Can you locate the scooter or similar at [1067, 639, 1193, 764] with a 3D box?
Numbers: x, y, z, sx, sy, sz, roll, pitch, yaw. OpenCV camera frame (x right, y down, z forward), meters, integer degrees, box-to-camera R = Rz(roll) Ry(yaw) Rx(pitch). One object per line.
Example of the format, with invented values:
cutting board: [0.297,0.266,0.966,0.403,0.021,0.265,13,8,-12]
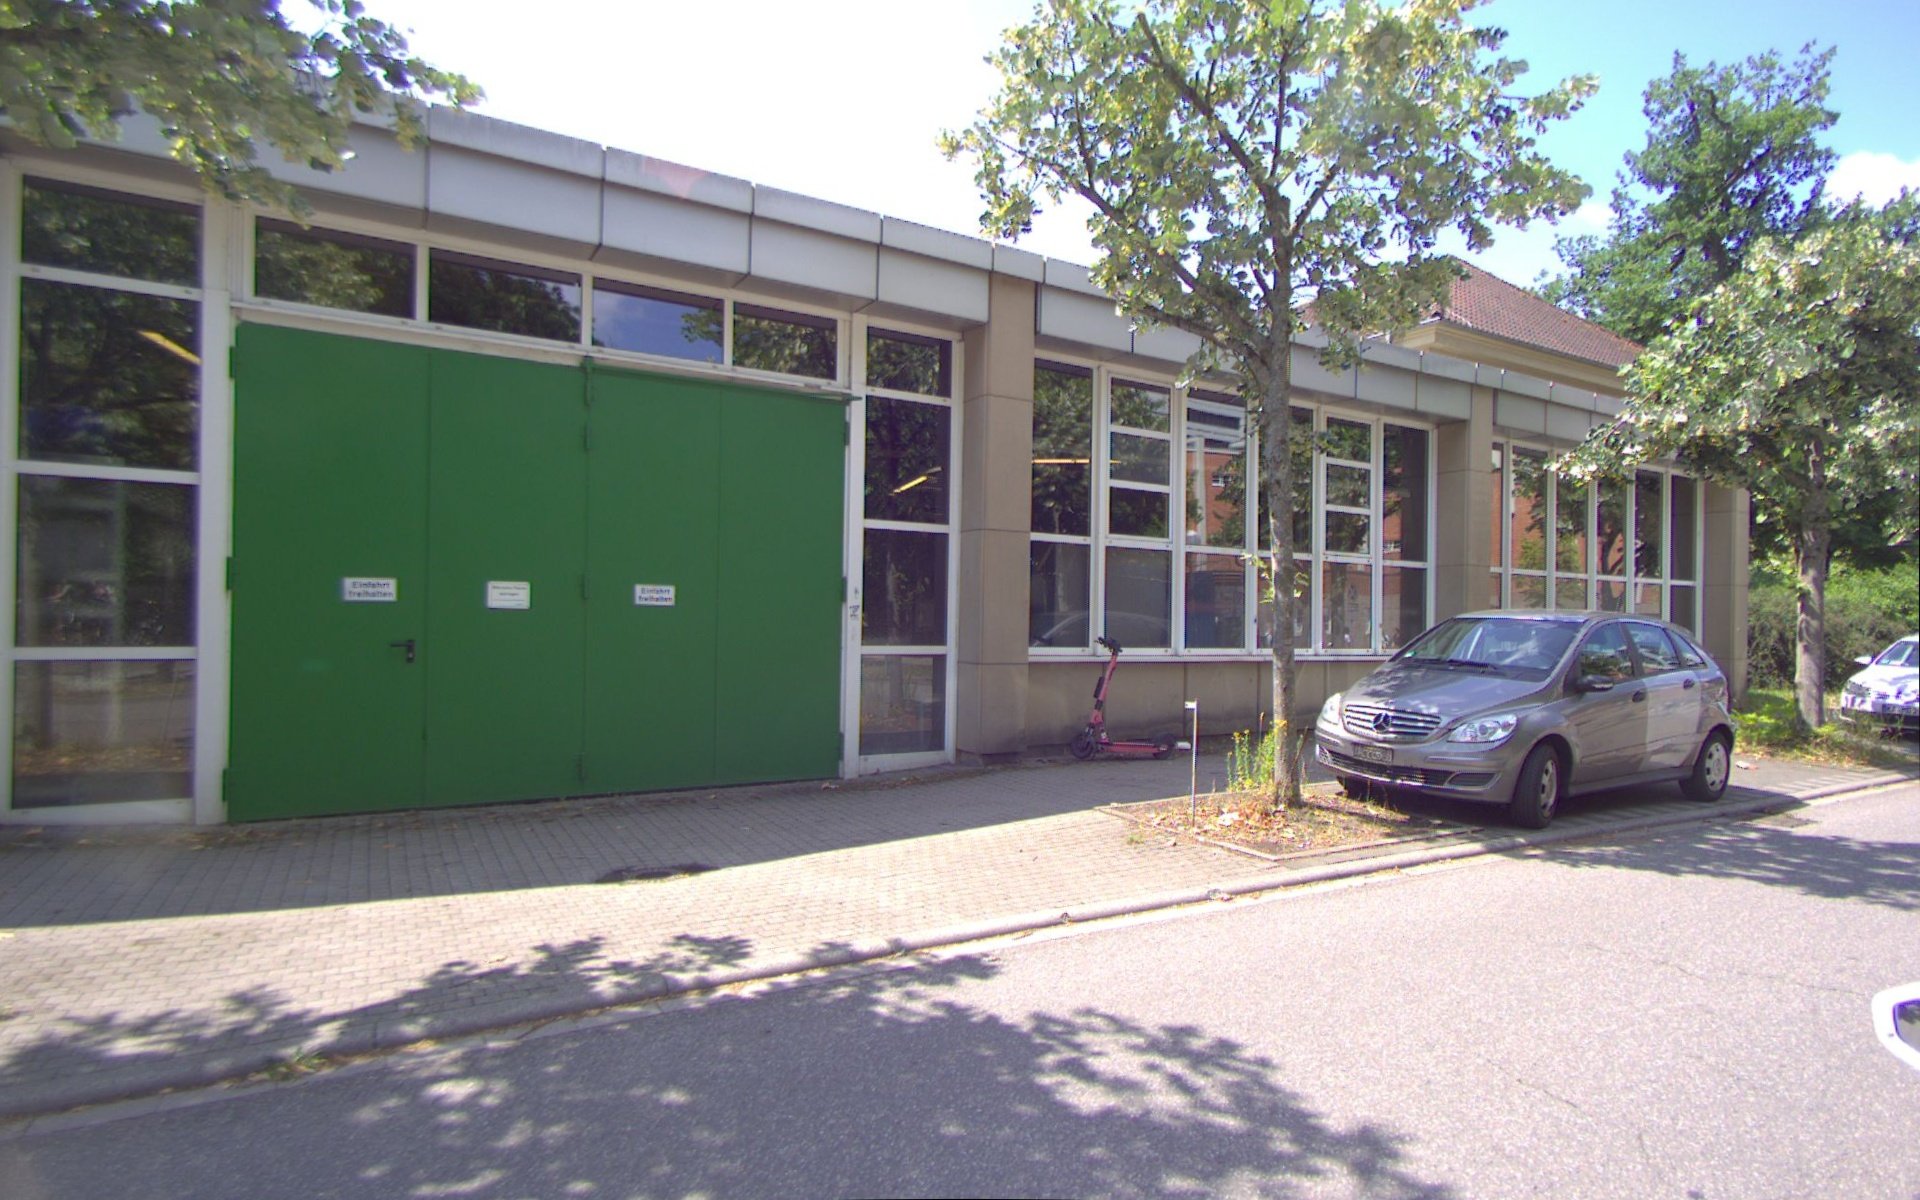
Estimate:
scooter or similar: [1.745,1.006,10.263,1.201,1.185,0.503,1,1,-30]

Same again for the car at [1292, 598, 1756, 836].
car: [4.951,0.853,8.674,4.068,1.577,1.747,2,1,-32]

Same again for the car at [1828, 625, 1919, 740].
car: [14.466,1.164,14.469,4.533,1.476,1.715,2,1,-32]
